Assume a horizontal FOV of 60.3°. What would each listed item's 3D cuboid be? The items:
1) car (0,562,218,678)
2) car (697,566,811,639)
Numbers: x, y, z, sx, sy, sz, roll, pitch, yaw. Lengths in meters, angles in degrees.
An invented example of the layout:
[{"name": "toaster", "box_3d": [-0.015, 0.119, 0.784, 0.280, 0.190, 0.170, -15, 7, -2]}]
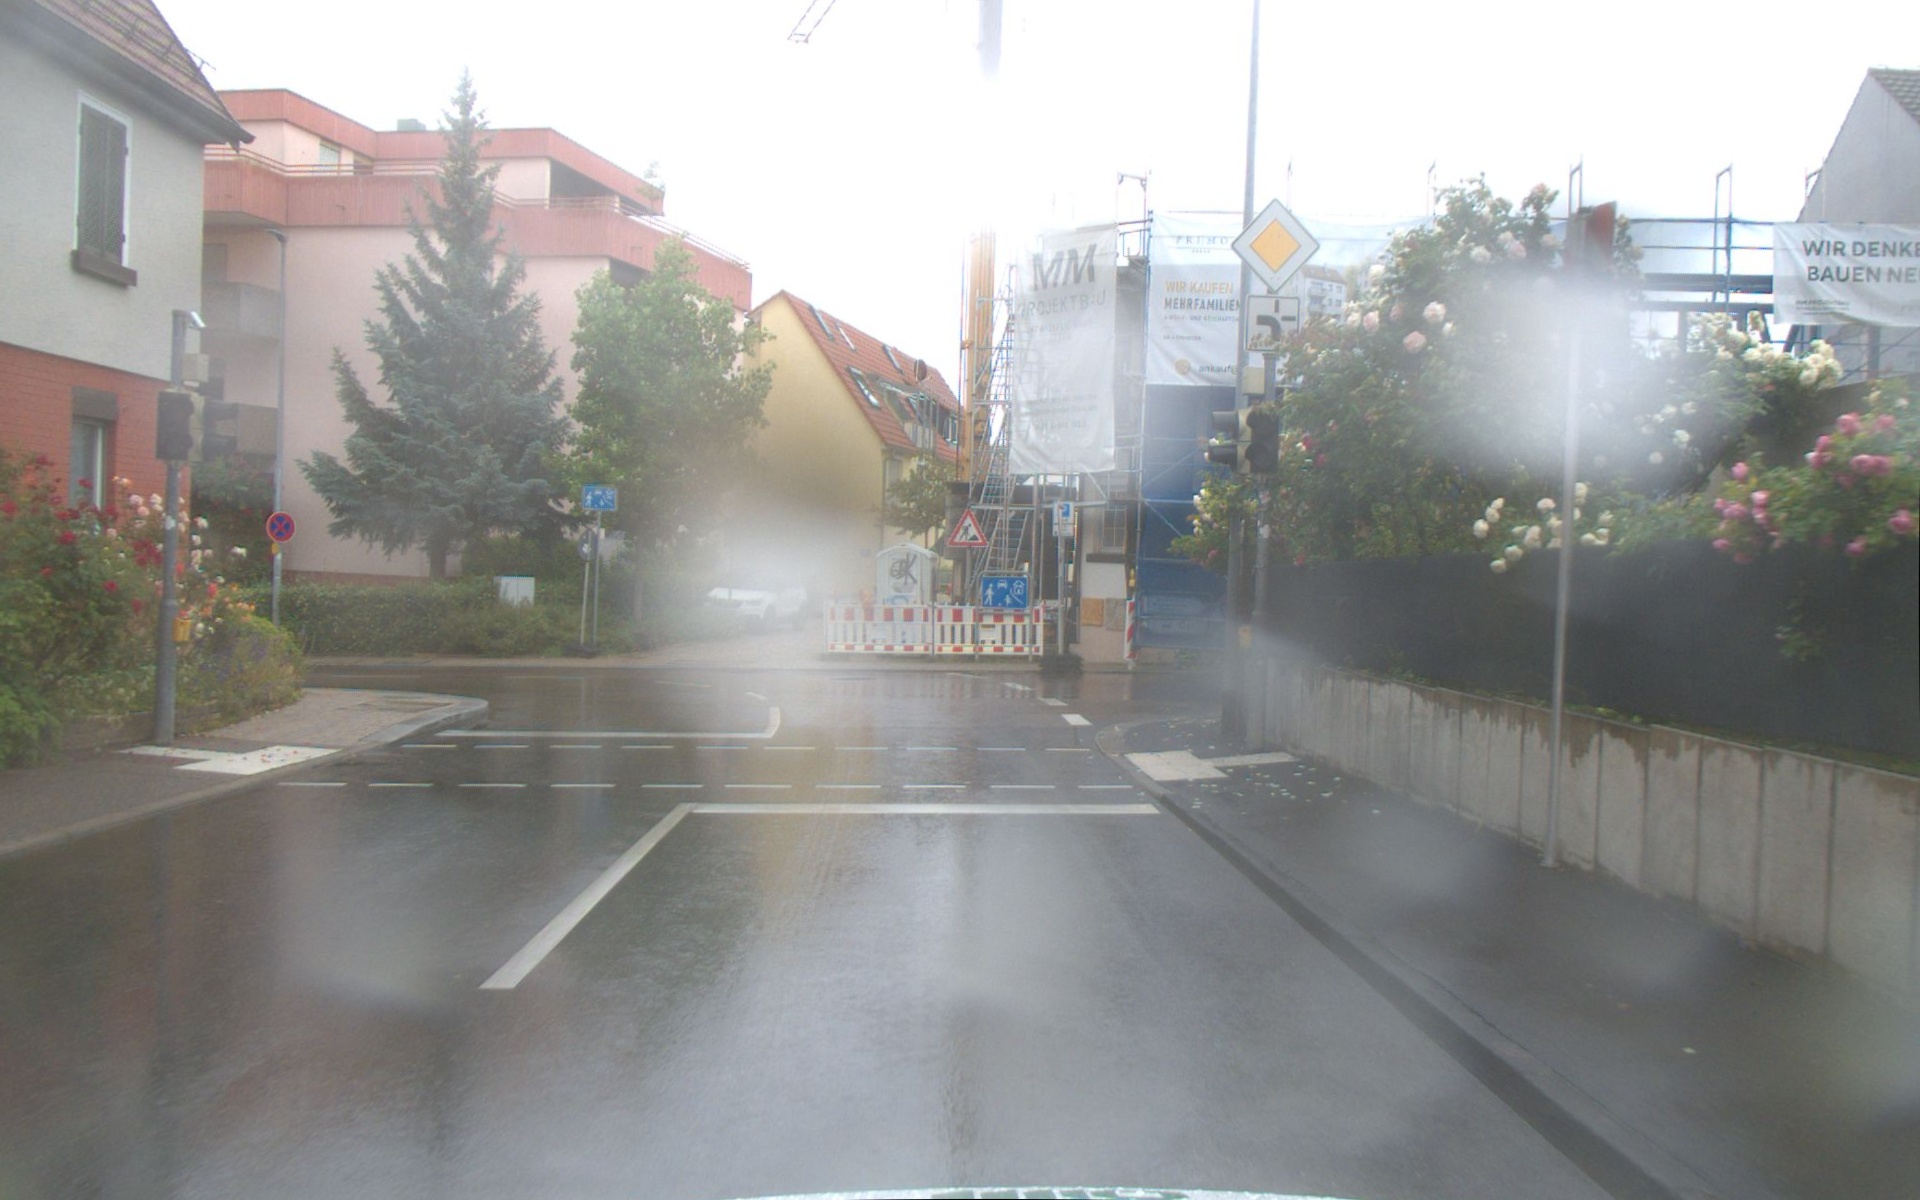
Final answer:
[{"name": "car", "box_3d": [-15.594, 0.324, 29.303, 3.902, 1.902, 2.190, 1, 0, 12]}, {"name": "car", "box_3d": [-5.237, 0.012, 42.454, 1.566, 1.707, 3.942, 3, 2, 13]}]
